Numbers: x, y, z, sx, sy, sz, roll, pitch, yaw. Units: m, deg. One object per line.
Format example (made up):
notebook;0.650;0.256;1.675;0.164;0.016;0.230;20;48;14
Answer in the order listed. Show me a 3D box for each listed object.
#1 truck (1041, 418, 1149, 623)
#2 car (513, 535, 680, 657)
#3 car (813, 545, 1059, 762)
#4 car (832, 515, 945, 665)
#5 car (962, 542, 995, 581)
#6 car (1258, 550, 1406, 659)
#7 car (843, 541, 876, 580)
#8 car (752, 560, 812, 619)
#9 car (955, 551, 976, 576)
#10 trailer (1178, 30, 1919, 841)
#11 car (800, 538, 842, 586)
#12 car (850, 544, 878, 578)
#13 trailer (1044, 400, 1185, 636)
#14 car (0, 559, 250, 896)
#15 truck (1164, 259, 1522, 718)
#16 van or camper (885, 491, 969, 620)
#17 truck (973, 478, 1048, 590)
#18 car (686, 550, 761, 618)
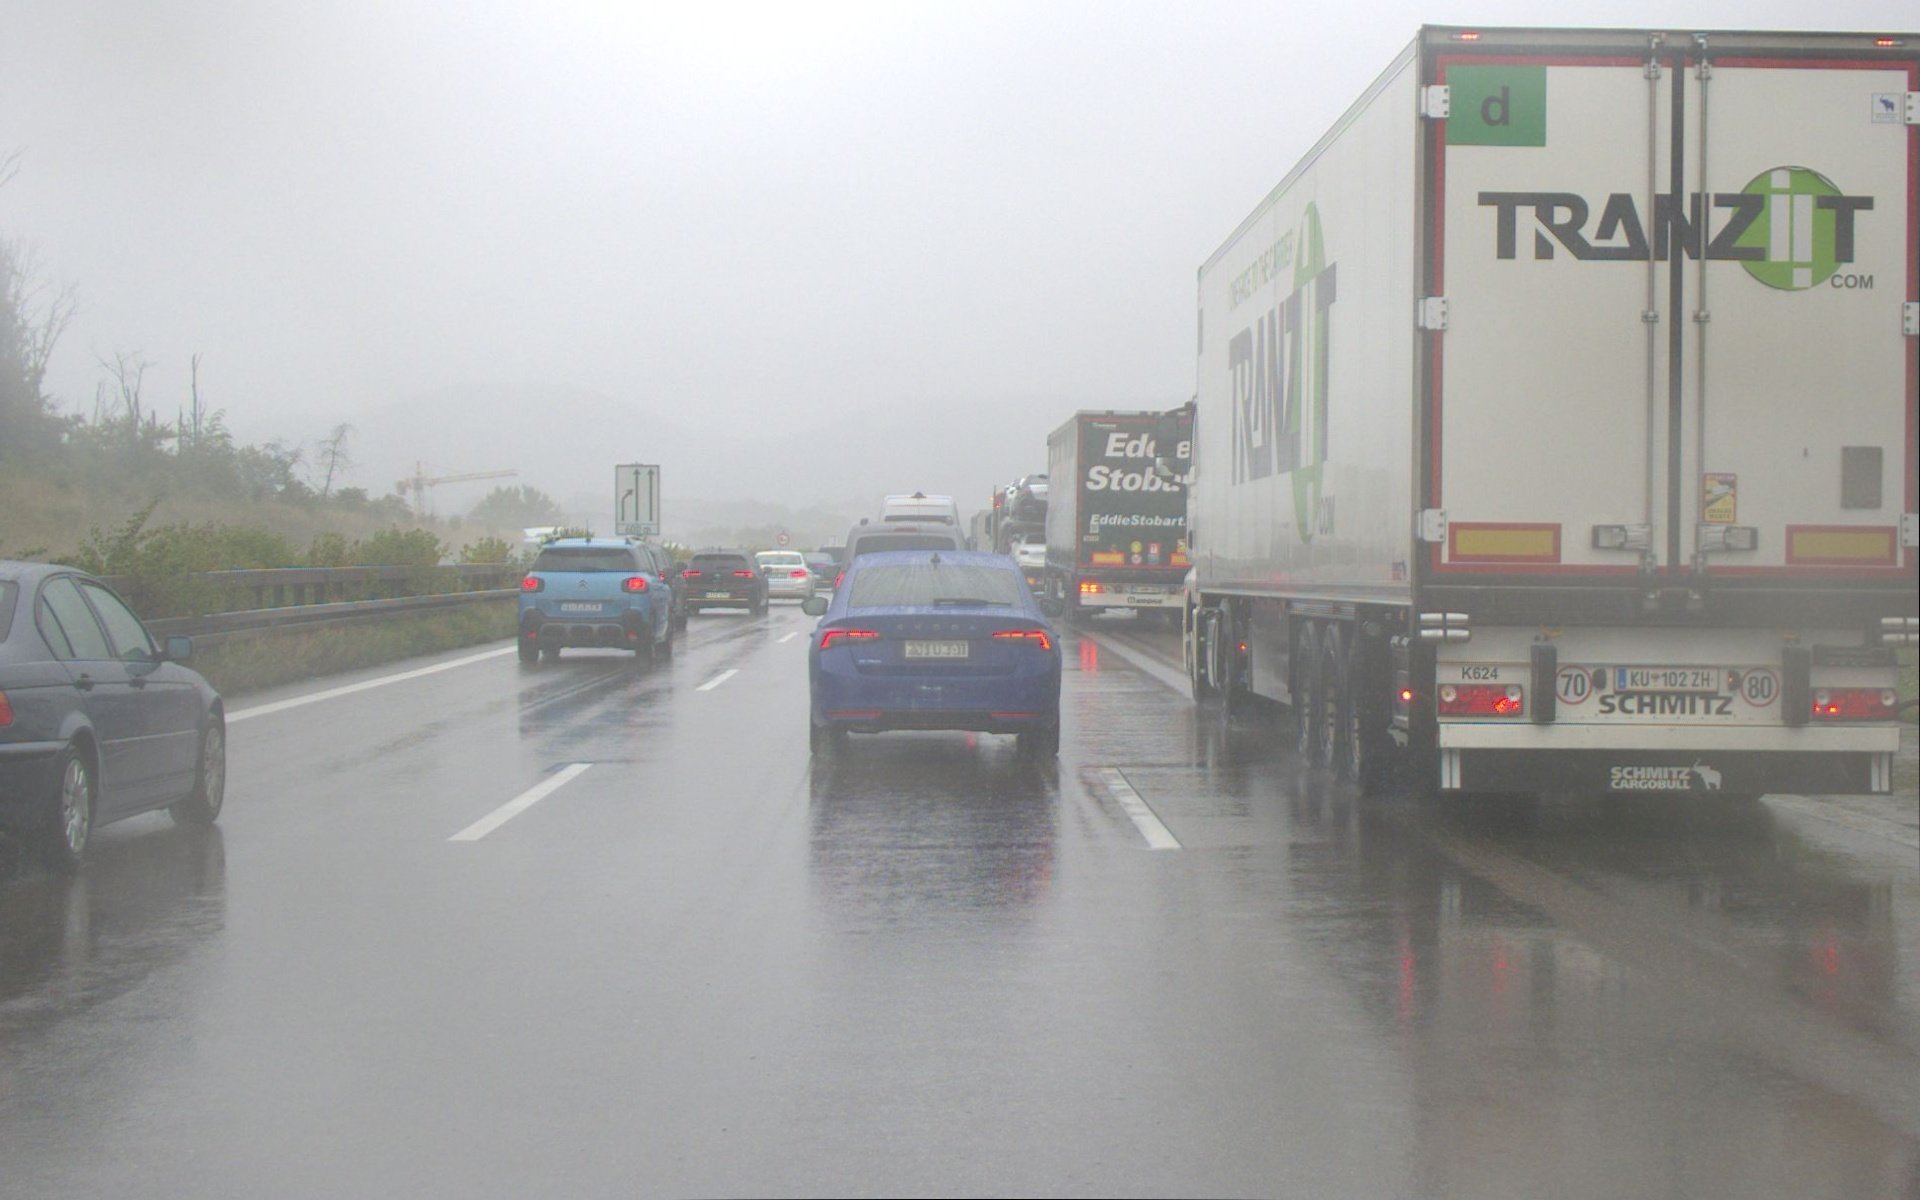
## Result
truck;2.807;-1.665;72.200;2.047;4.178;4.000;0;1;-1
car;-4.693;-0.077;44.830;1.721;1.518;4.000;0;1;0
car;-0.154;0.330;24.949;1.635;1.440;4.000;0;1;0
car;-0.866;-0.155;42.509;1.336;1.774;3.322;0;1;-1
car;0.865;-1.772;159.443;1.448;1.777;3.409;1;1;-1
car;4.578;0.027;42.679;1.423;1.284;3.461;0;1;-1
car;-4.702;-1.864;160.777;1.448;1.777;3.409;1;1;-1
car;-4.726;-0.293;91.521;1.439;1.528;3.322;0;1;-1
car;0.371;-2.628;247.219;1.448;1.777;3.409;1;1;-1
trailer;3.415;-0.949;24.333;2.630;3.999;14.630;0;1;-1
car;-5.199;-1.431;129.191;1.448;1.777;3.409;1;1;-1
car;-5.186;-2.117;186.236;1.448;1.777;3.409;1;1;-1
trailer;2.860;-1.555;66.366;2.047;4.162;11.449;0;1;-1
car;-4.711;0.509;16.520;1.718;1.395;4.230;0;1;0
truck;3.341;-0.975;31.105;2.630;3.814;4.791;0;1;-1
van or camper;-0.741;-1.005;76.856;1.797;2.797;4.768;0;1;-1
truck;1.577;-2.131;109.649;1.993;3.410;8.033;0;1;-2
car;-5.124;-0.359;74.810;1.439;1.415;3.322;0;1;-1
